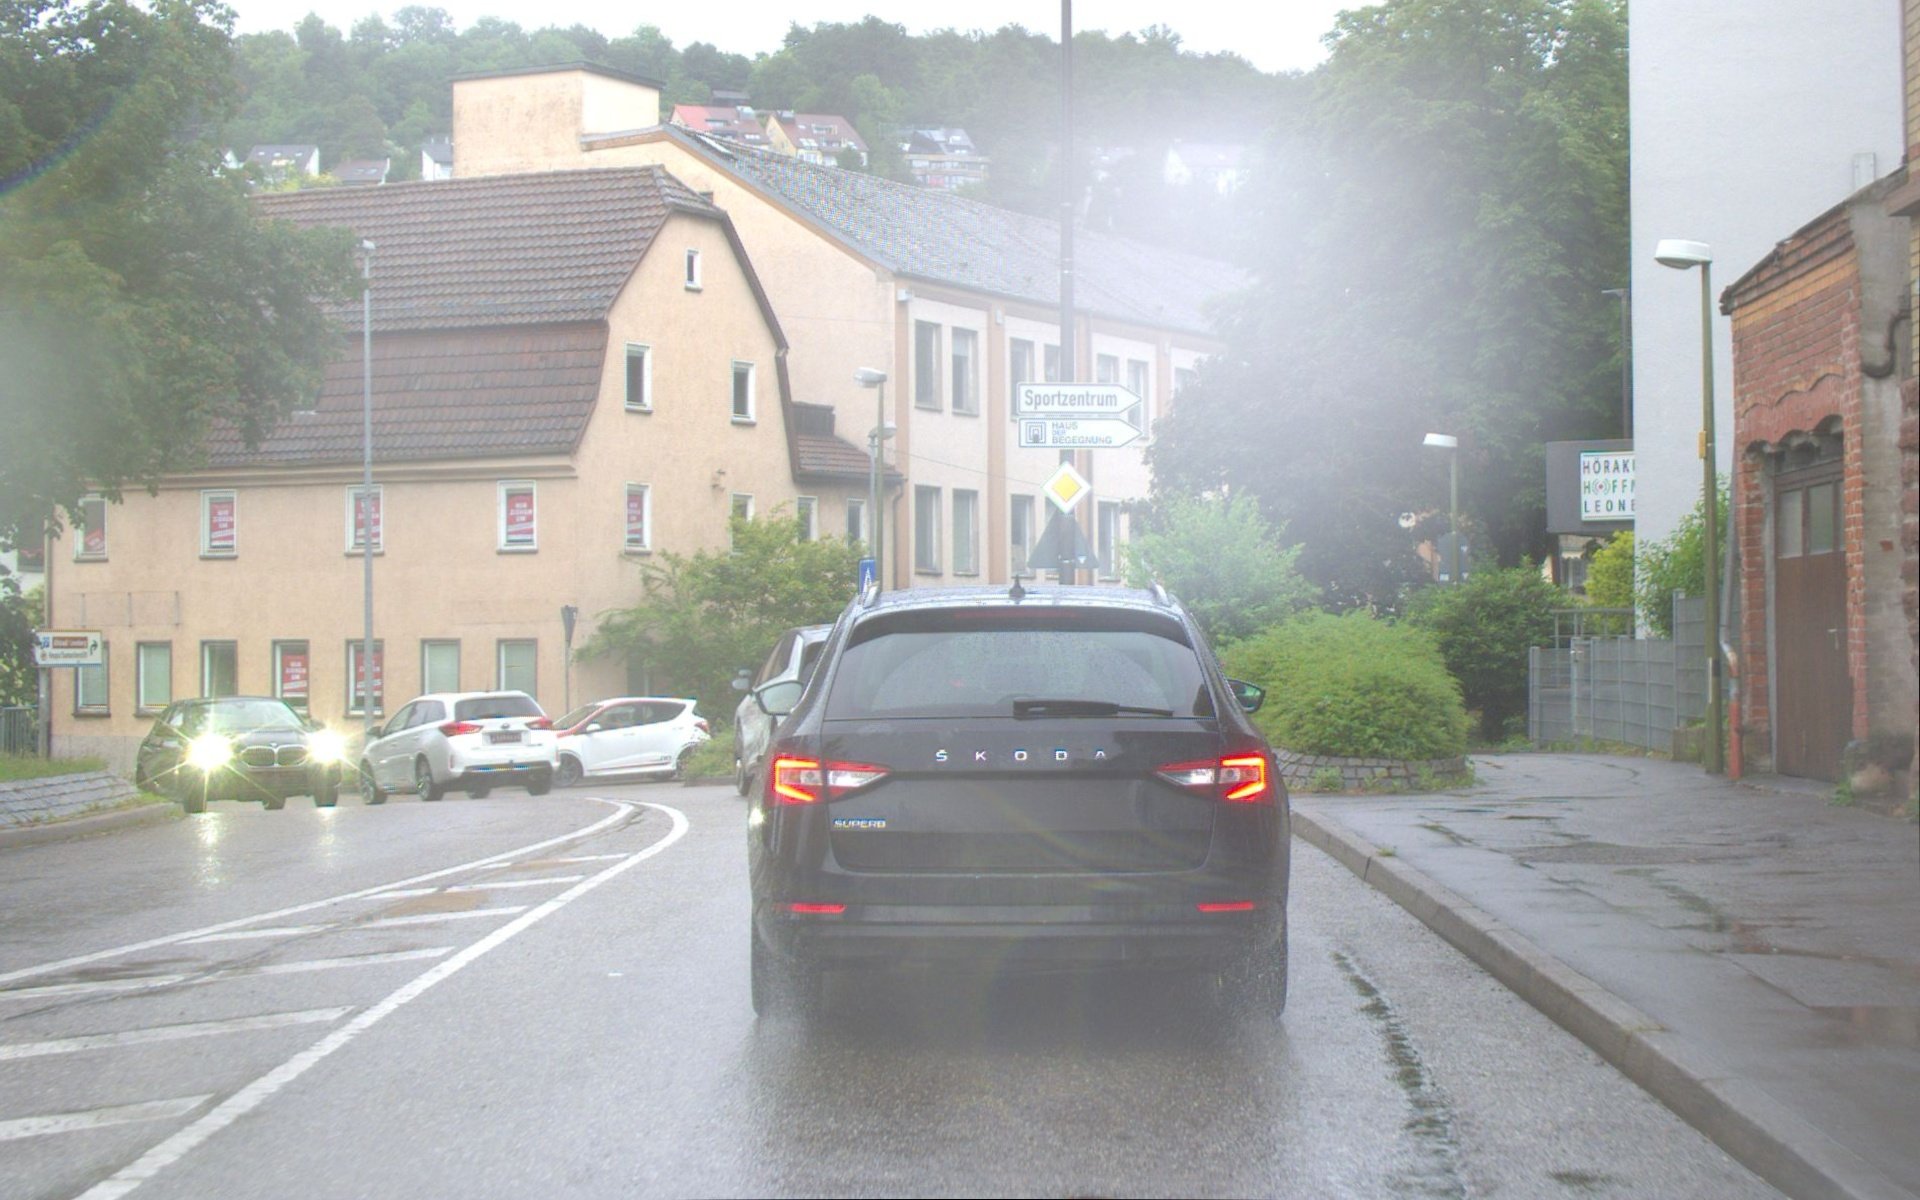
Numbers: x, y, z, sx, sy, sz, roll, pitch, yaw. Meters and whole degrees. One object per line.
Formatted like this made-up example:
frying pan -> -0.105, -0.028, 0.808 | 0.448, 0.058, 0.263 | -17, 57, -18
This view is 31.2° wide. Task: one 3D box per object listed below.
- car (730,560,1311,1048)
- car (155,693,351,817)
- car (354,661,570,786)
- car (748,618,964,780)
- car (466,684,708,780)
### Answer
car -> 0.050, 0.651, 12.740 | 1.781, 1.478, 4.246 | -1, -1, -4
car -> -8.653, 1.850, 41.850 | 1.735, 1.406, 4.055 | 0, -2, -20
car -> -6.852, 1.697, 46.991 | 1.727, 1.585, 4.184 | 3, -3, -25
car -> -0.998, 0.876, 31.070 | 1.817, 1.355, 3.990 | 0, -1, -4
car -> -6.451, 2.279, 59.516 | 3.750, 1.448, 1.712 | -2, -1, -26
